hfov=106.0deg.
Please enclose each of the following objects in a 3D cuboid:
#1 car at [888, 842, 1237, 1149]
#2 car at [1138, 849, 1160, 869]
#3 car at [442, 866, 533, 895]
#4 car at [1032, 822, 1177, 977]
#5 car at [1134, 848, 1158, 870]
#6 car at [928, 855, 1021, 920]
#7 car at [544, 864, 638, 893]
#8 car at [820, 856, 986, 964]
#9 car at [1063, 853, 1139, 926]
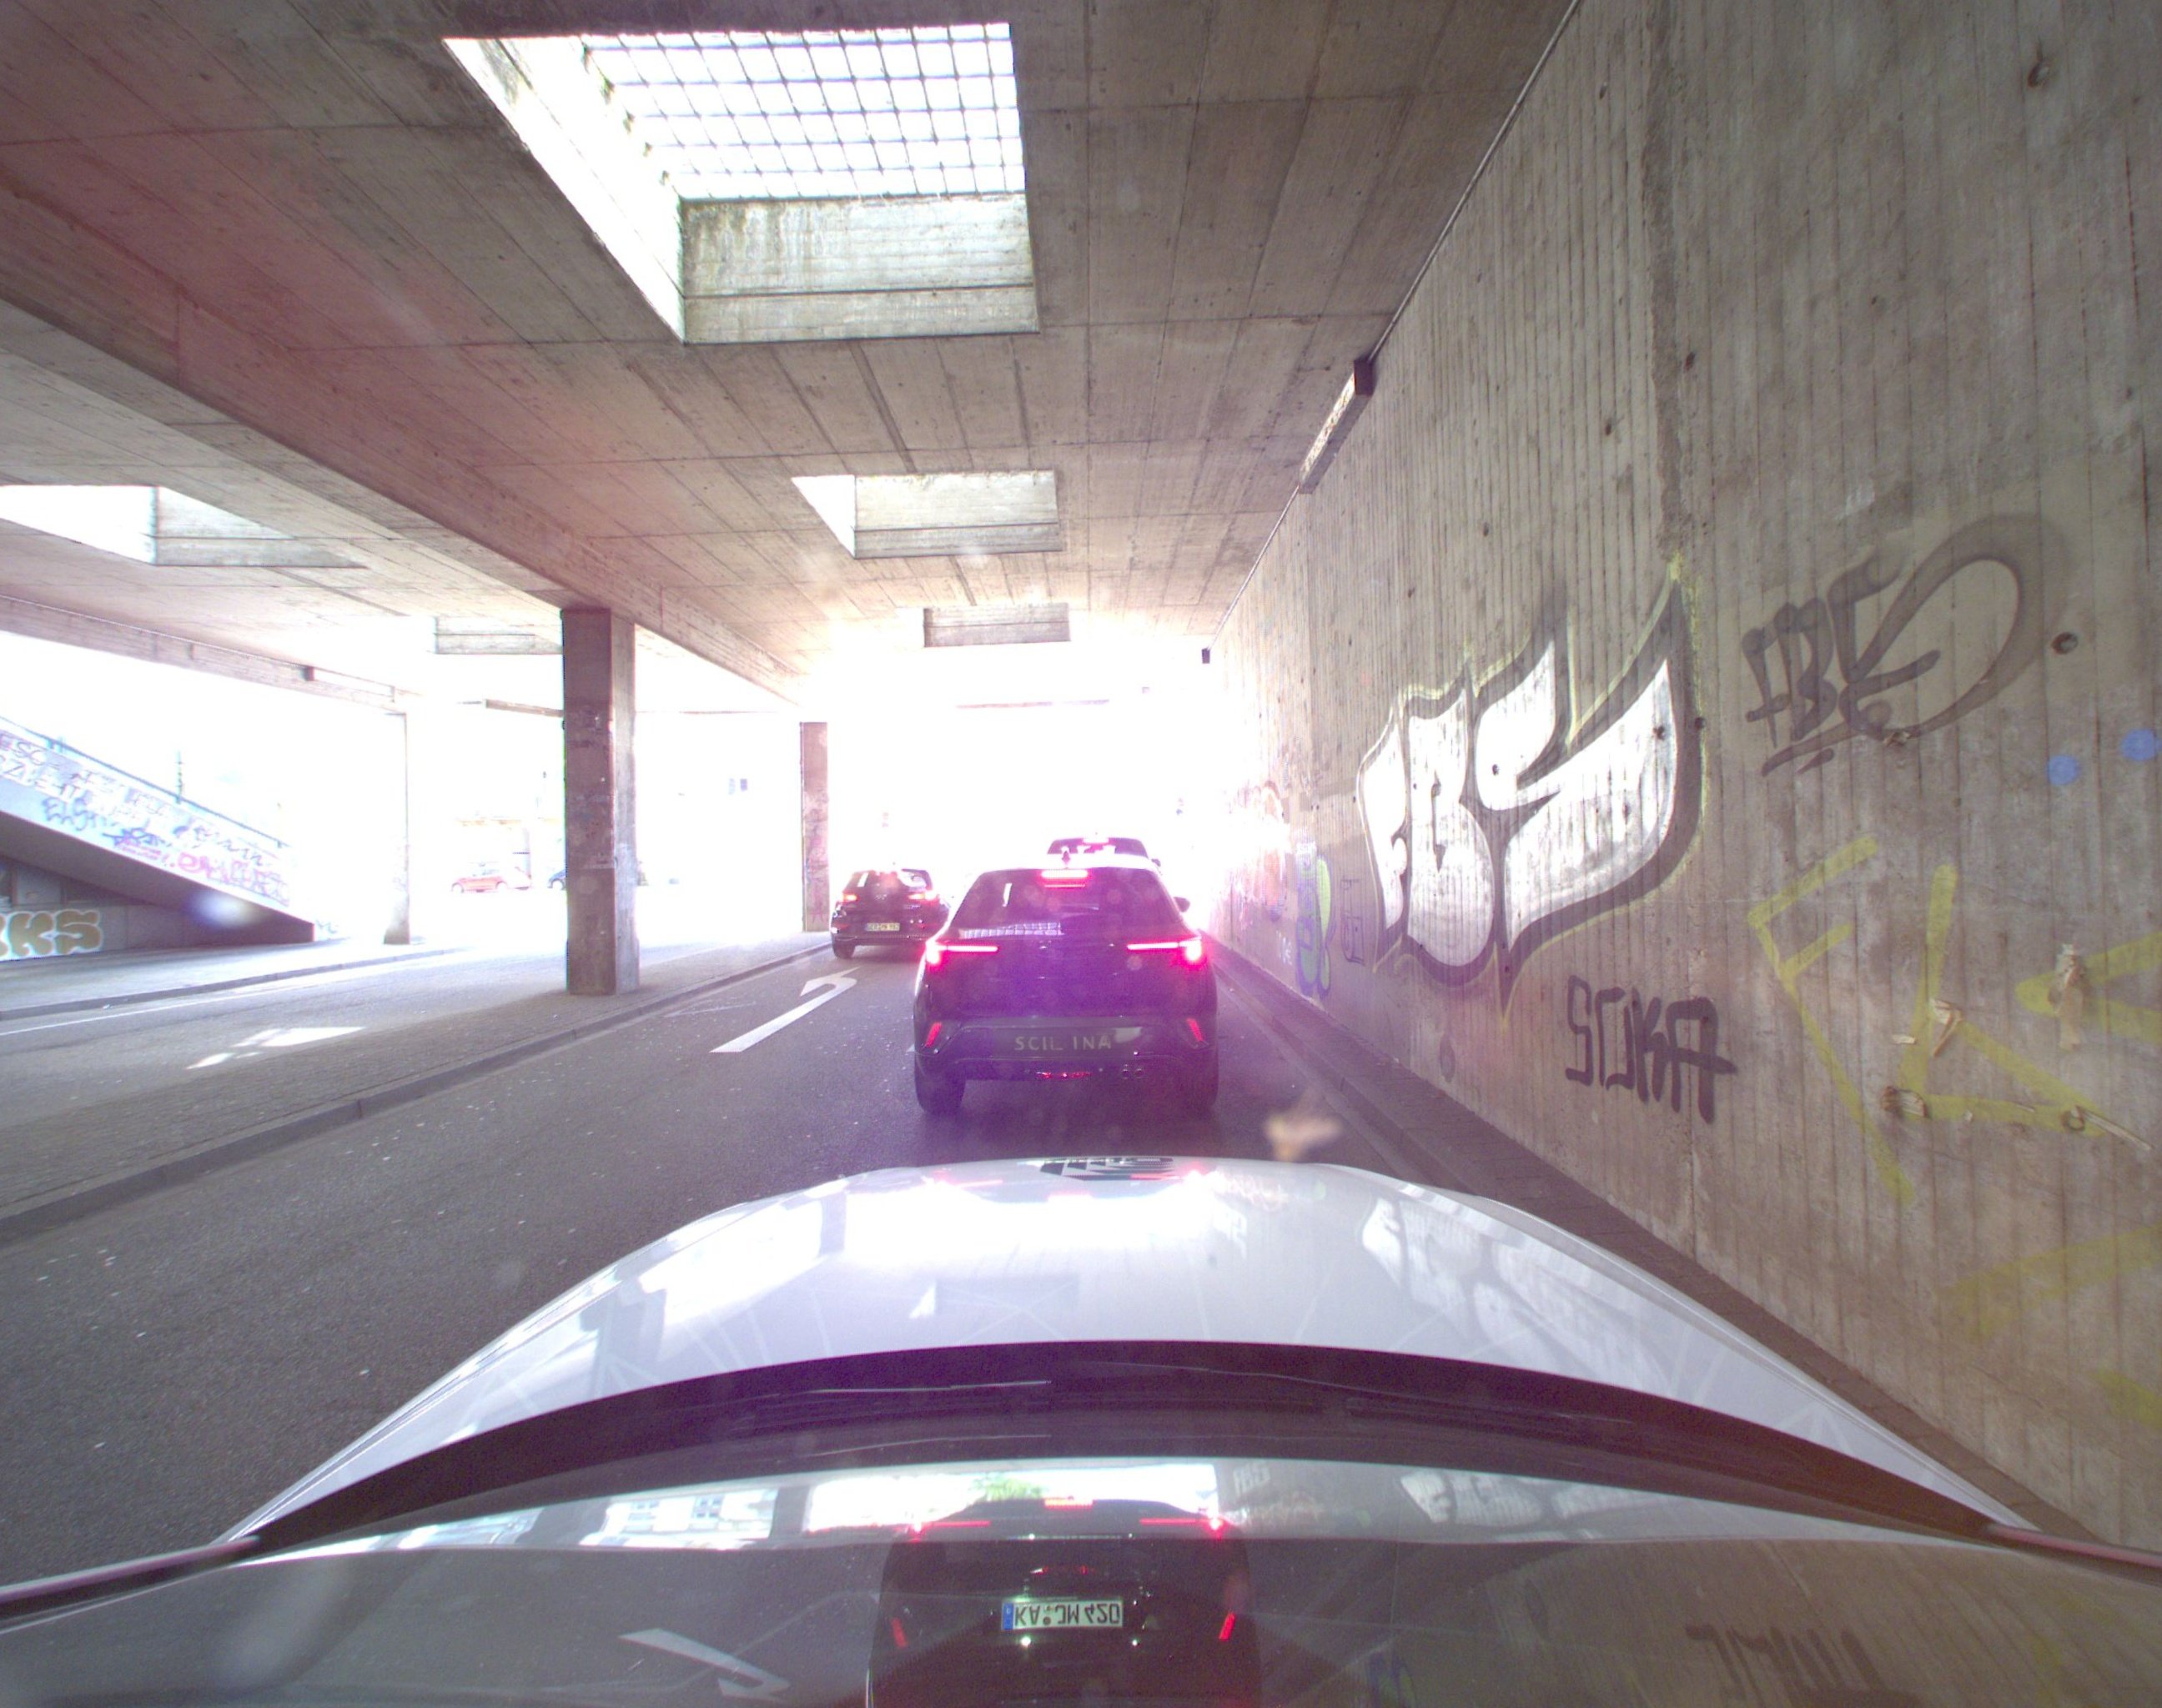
[{"bbox_3d":[-0.032,0.725,6.195,1.755,1.531,4.091,-1,0,2],"label":"car"},{"bbox_3d":[5.754,0.423,68.326,1.745,1.667,3.950,0,-1,6],"label":"car"},{"bbox_3d":[-32.931,1.457,45.240,3.748,1.475,1.749,-1,-1,0],"label":"car"},{"bbox_3d":[0.353,0.566,12.135,1.755,1.883,4.148,-1,0,2],"label":"car"},{"bbox_3d":[4.966,0.379,62.222,1.745,1.667,3.950,0,-1,6],"label":"car"},{"bbox_3d":[-2.663,0.796,21.182,1.755,1.480,3.846,-1,0,2],"label":"car"},{"bbox_3d":[-27.175,1.332,45.263,4.096,1.475,1.737,-1,-1,0],"label":"car"},{"bbox_3d":[-2.752,0.800,13.454,1.755,1.480,3.846,-1,0,2],"label":"car"},{"bbox_3d":[0.490,0.761,19.353,1.603,1.513,4.055,-1,0,2],"label":"car"}]
